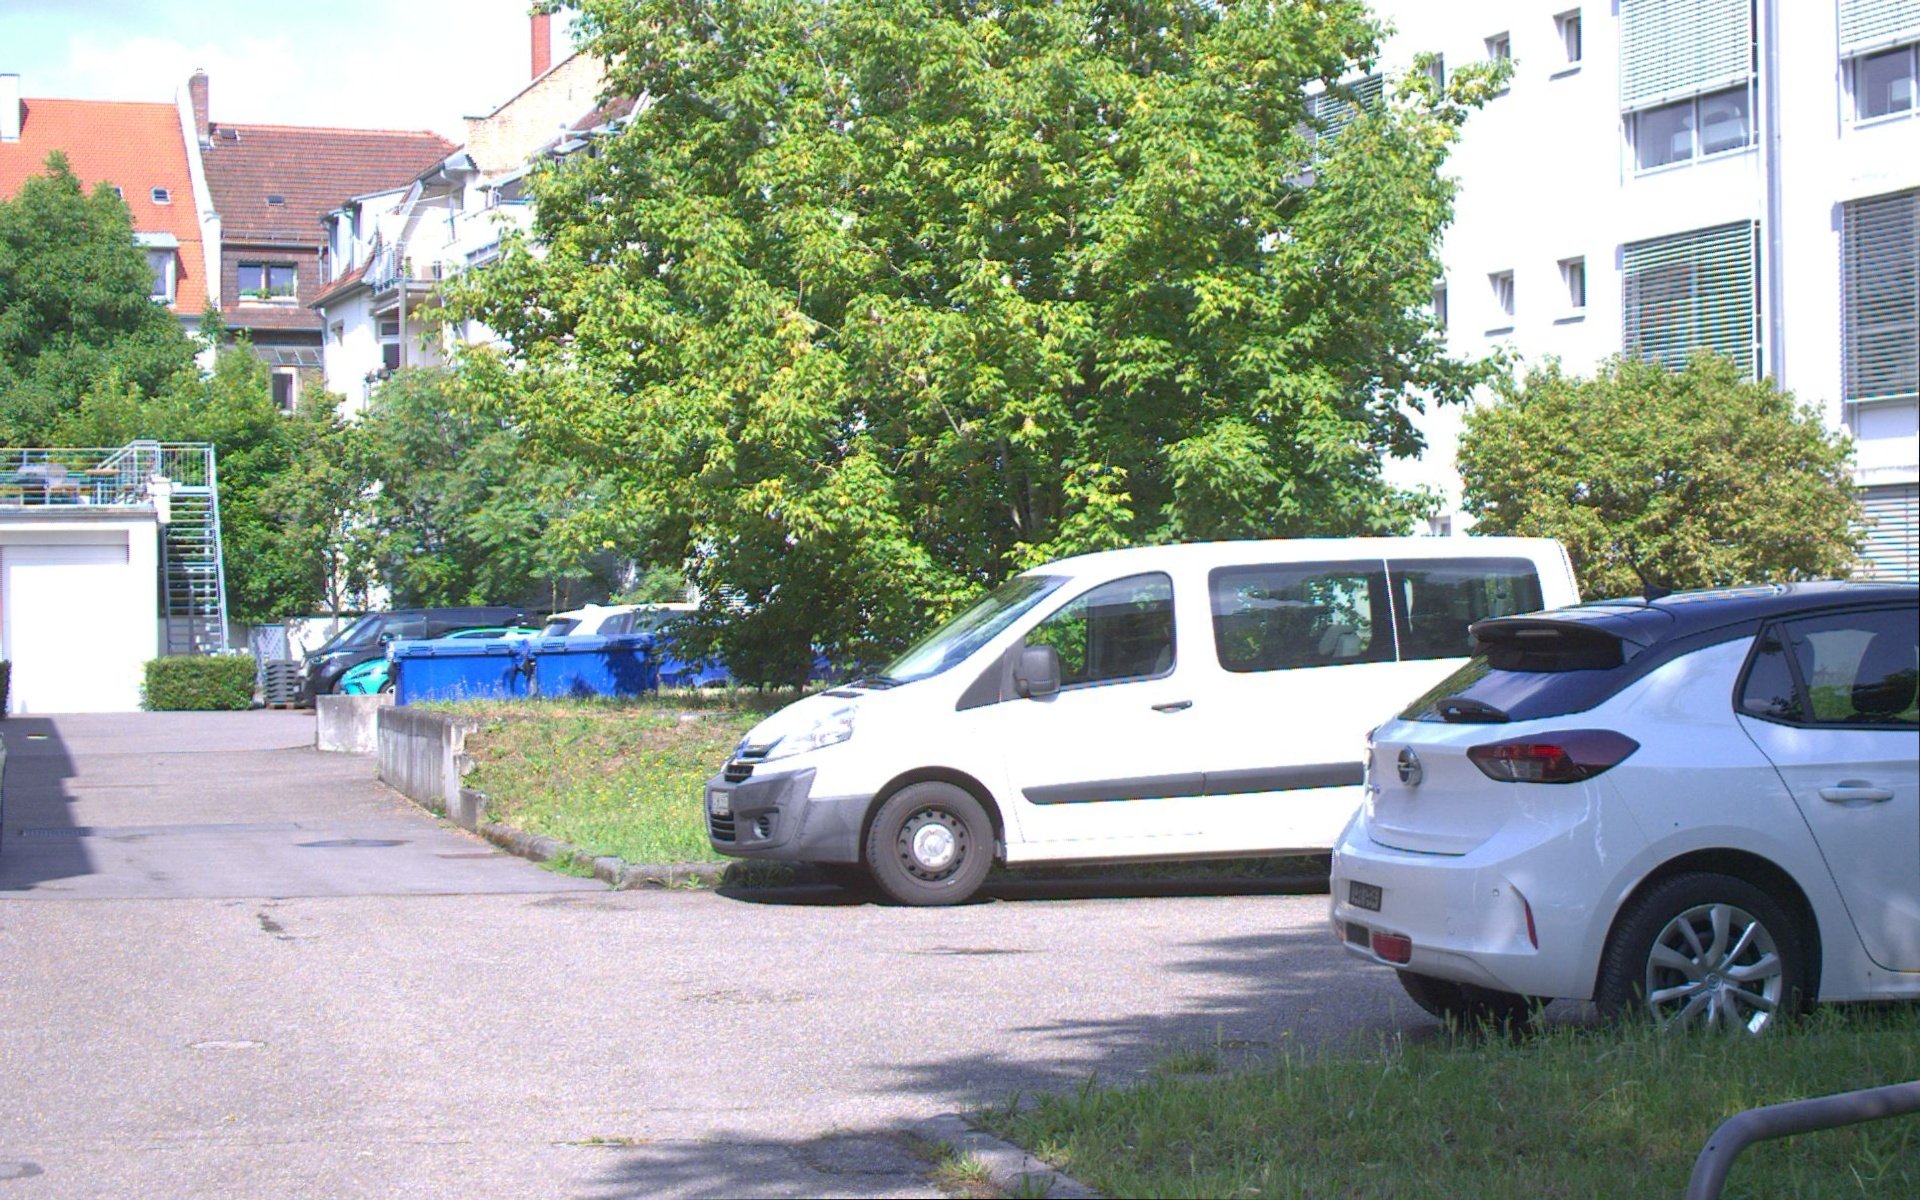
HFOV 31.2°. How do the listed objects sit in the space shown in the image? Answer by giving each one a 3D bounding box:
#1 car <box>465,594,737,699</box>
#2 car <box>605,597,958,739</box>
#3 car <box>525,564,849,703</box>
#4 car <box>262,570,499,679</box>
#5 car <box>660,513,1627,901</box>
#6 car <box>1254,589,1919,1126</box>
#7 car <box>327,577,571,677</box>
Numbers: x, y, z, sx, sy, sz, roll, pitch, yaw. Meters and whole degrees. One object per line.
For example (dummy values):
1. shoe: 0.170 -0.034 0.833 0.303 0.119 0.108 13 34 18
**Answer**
1. car: -5.664 0.710 54.238 3.986 1.439 1.630 -1 5 -21
2. car: -2.294 0.869 43.984 4.111 1.600 1.756 2 2 -20
3. car: -3.728 0.430 46.813 3.986 1.739 1.950 0 3 -21
4. car: -10.674 0.451 63.330 3.986 1.811 1.664 2 2 -21
5. car: 0.956 0.547 18.906 4.937 1.958 2.001 0 0 -14
6. car: 3.078 0.702 10.885 3.902 1.415 1.759 -1 2 -16
7. car: -9.004 0.461 60.557 3.986 1.568 1.630 -1 4 -21
